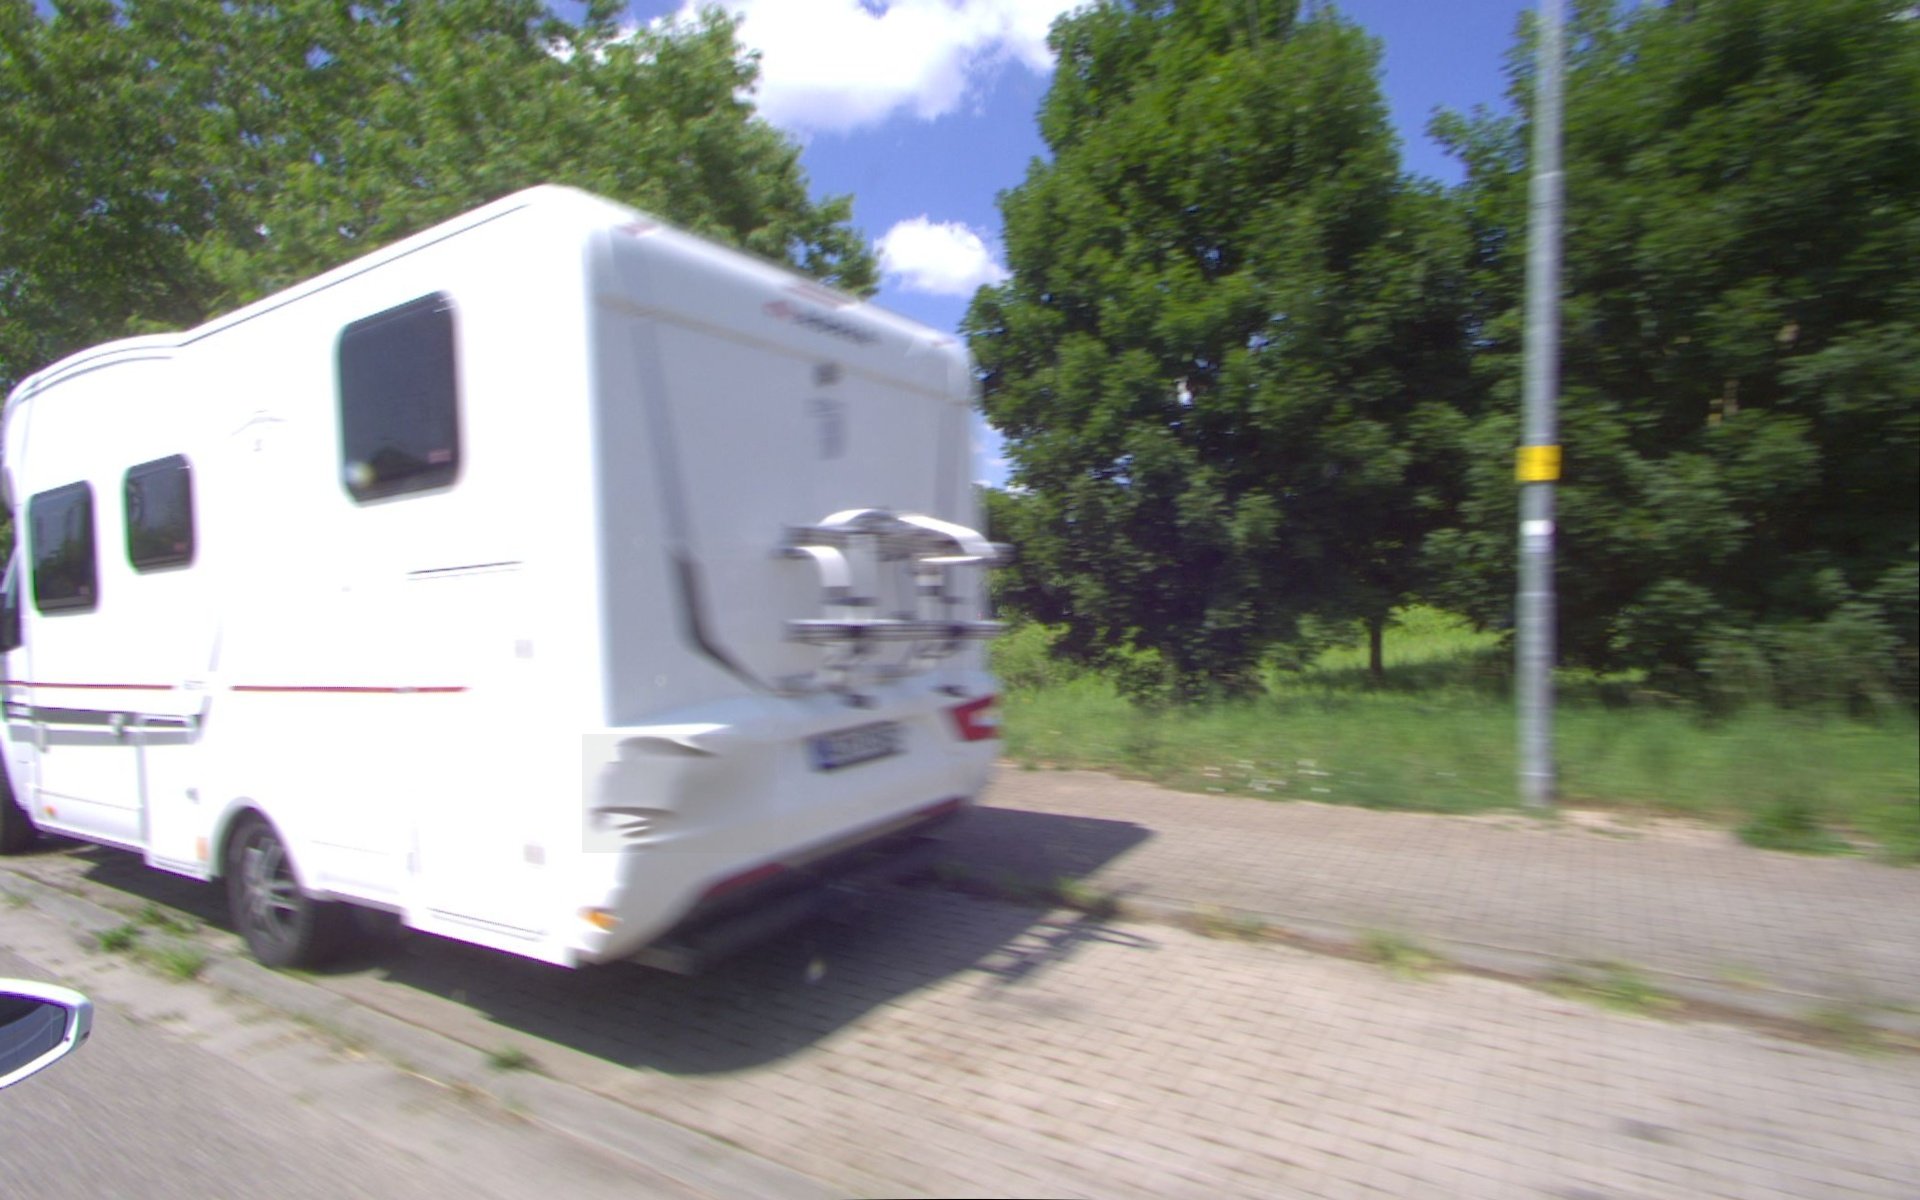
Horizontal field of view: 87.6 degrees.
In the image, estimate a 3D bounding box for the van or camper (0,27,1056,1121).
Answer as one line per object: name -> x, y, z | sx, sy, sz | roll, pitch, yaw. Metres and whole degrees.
van or camper -> -3.377, -0.034, 5.684 | 7.514, 2.865, 2.433 | -1, 2, 33
